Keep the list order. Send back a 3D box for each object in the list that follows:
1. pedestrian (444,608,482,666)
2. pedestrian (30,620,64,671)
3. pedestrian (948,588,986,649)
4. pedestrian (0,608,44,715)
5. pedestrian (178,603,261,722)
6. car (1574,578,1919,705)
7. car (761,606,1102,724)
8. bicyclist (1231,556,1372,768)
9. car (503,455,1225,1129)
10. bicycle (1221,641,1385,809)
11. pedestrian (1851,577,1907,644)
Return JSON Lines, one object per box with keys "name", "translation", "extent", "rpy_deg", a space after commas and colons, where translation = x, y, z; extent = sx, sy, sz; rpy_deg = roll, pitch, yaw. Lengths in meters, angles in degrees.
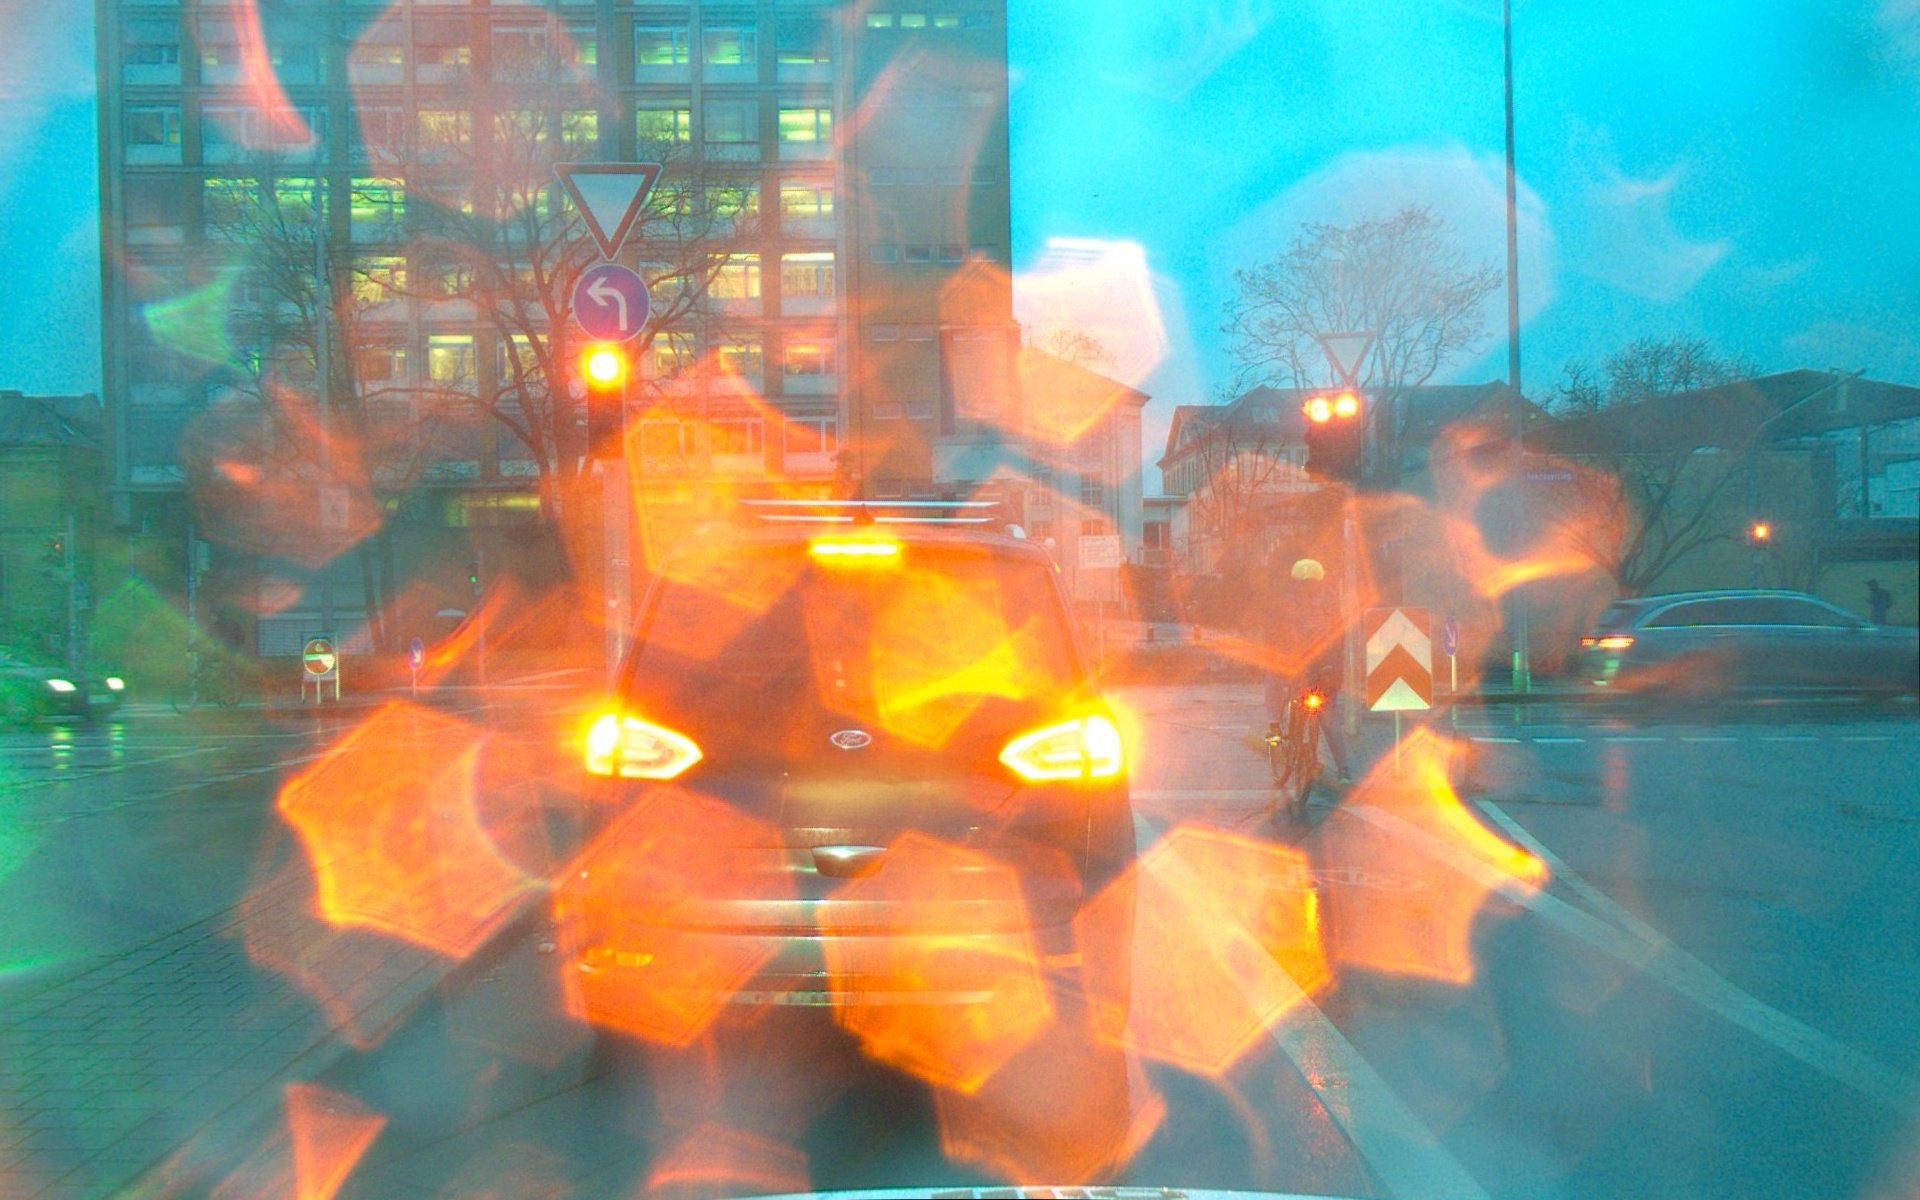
{"name": "pedestrian", "translation": [-14.538, 1.076, 48.376], "extent": [0.744, 1.656, 0.722], "rpy_deg": [-2, 0, 19]}
{"name": "pedestrian", "translation": [-29.870, 1.486, 54.091], "extent": [0.743, 1.656, 0.558], "rpy_deg": [-2, 0, 14]}
{"name": "pedestrian", "translation": [0.200, 0.483, 44.251], "extent": [0.905, 1.559, 1.043], "rpy_deg": [-2, 0, 4]}
{"name": "pedestrian", "translation": [-17.705, 1.135, 30.360], "extent": [0.983, 1.874, 1.136], "rpy_deg": [-1, 3, 33]}
{"name": "pedestrian", "translation": [-12.997, 1.084, 29.047], "extent": [0.908, 2.013, 0.960], "rpy_deg": [-2, 0, 5]}
{"name": "car", "translation": [10.622, 0.524, 21.580], "extent": [4.557, 1.503, 1.812], "rpy_deg": [-2, -1, 8]}
{"name": "car", "translation": [-0.339, 0.900, 23.381], "extent": [4.557, 1.503, 1.812], "rpy_deg": [-2, -1, 8]}
{"name": "bicyclist", "translation": [2.494, 0.440, 12.196], "extent": [0.767, 1.478, 1.133], "rpy_deg": [1, 0, -1]}
{"name": "car", "translation": [-0.287, 0.539, 6.543], "extent": [1.953, 1.821, 3.999], "rpy_deg": [1, 0, -1]}
{"name": "bicycle", "translation": [2.490, 0.877, 12.244], "extent": [0.767, 1.094, 1.956], "rpy_deg": [1, 0, -1]}
{"name": "pedestrian", "translation": [23.066, 0.258, 41.527], "extent": [0.941, 1.631, 0.795], "rpy_deg": [-2, 0, 6]}
